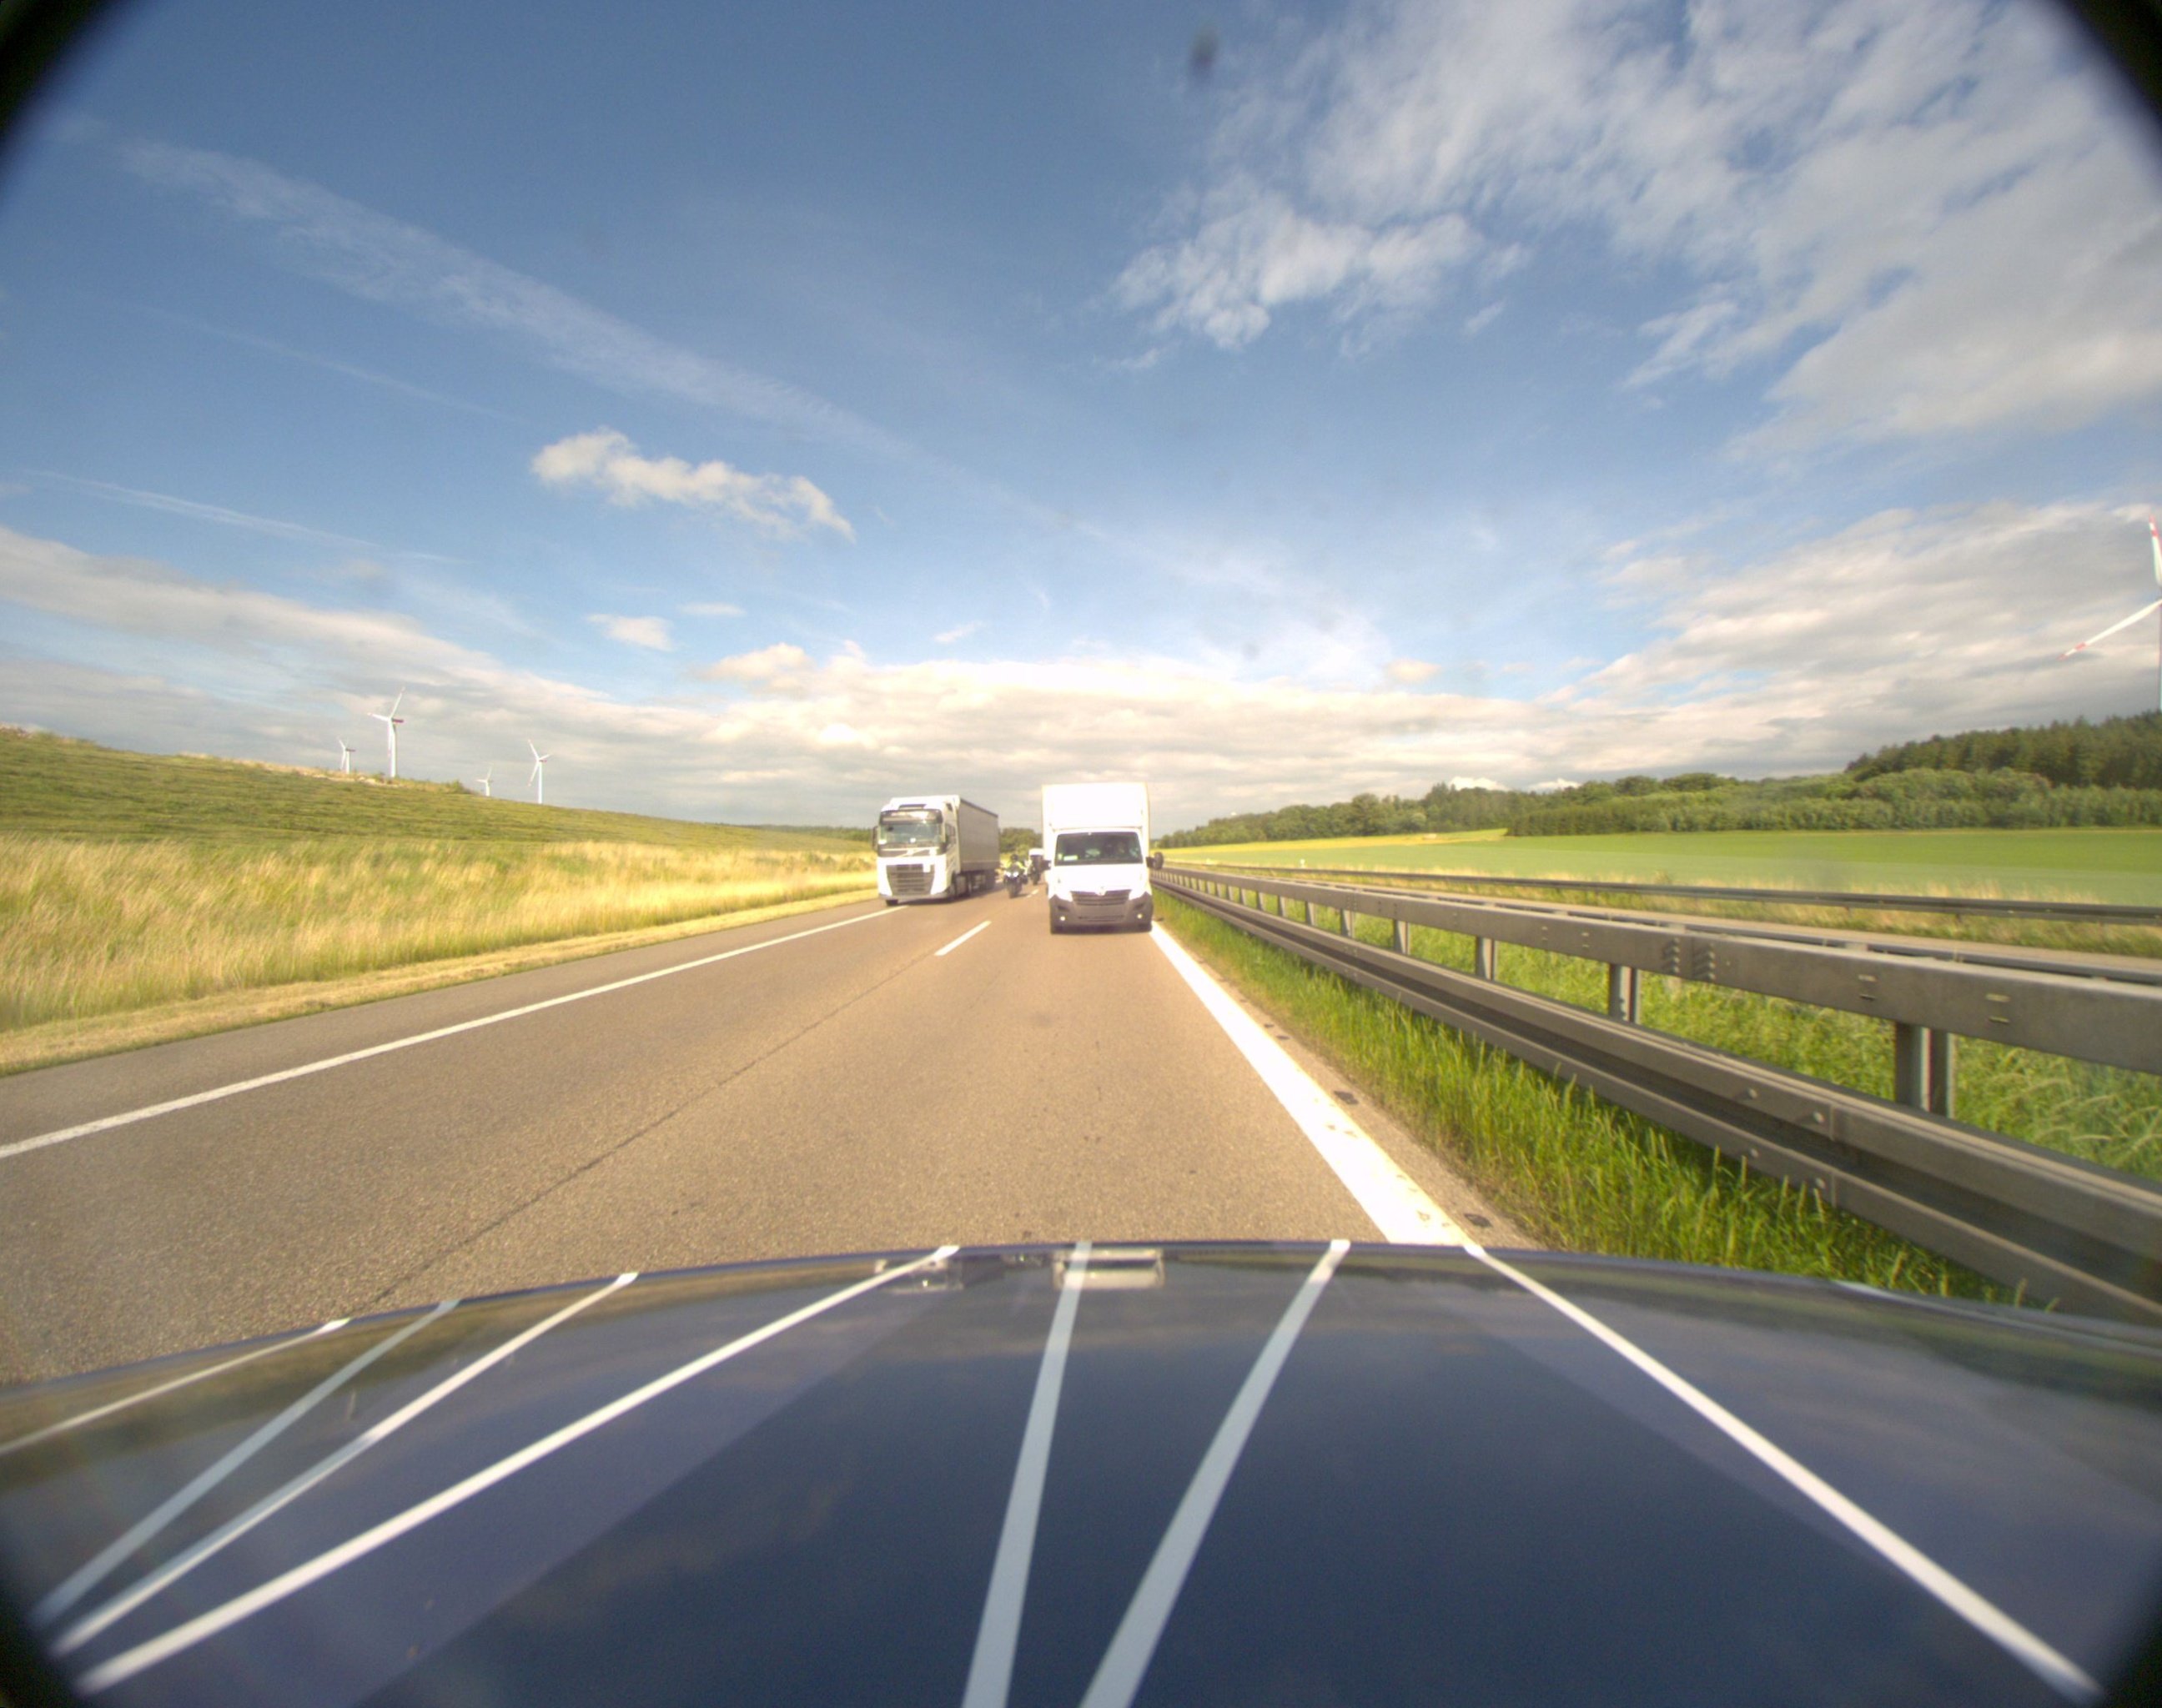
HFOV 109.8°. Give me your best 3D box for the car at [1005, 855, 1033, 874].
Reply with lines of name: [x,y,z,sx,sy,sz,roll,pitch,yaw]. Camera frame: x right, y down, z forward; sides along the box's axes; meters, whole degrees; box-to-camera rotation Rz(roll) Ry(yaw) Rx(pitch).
car: [-5.116,0.835,62.985,1.871,1.409,4.461,-1,1,1]

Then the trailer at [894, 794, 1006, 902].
trailer: [-5.617,-0.210,35.593,2.623,4.017,13.699,-1,0,1]

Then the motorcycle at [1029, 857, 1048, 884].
motorcycle: [-2.386,0.914,42.968,0.898,1.447,1.982,-1,1,0]

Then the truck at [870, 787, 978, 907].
truck: [-5.762,-0.226,29.002,2.607,4.017,6.120,-1,0,2]

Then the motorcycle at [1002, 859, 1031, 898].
motorcycle: [-2.527,0.940,29.917,0.898,1.447,2.269,-1,1,0]

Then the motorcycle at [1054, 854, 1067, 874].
motorcycle: [-1.532,0.770,58.297,0.898,1.447,2.269,-1,1,0]

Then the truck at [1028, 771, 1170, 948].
truck: [0.312,0.120,19.324,2.502,3.141,11.163,-1,0,0]

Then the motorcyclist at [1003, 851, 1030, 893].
motorcyclist: [-2.528,0.709,29.931,0.898,1.608,1.022,-1,1,0]

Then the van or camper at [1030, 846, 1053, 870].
van or camper: [-4.329,0.377,84.446,2.102,2.530,6.412,-1,1,1]

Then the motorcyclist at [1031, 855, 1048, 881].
motorcyclist: [-2.356,0.795,42.993,0.898,1.447,0.892,-1,1,0]
